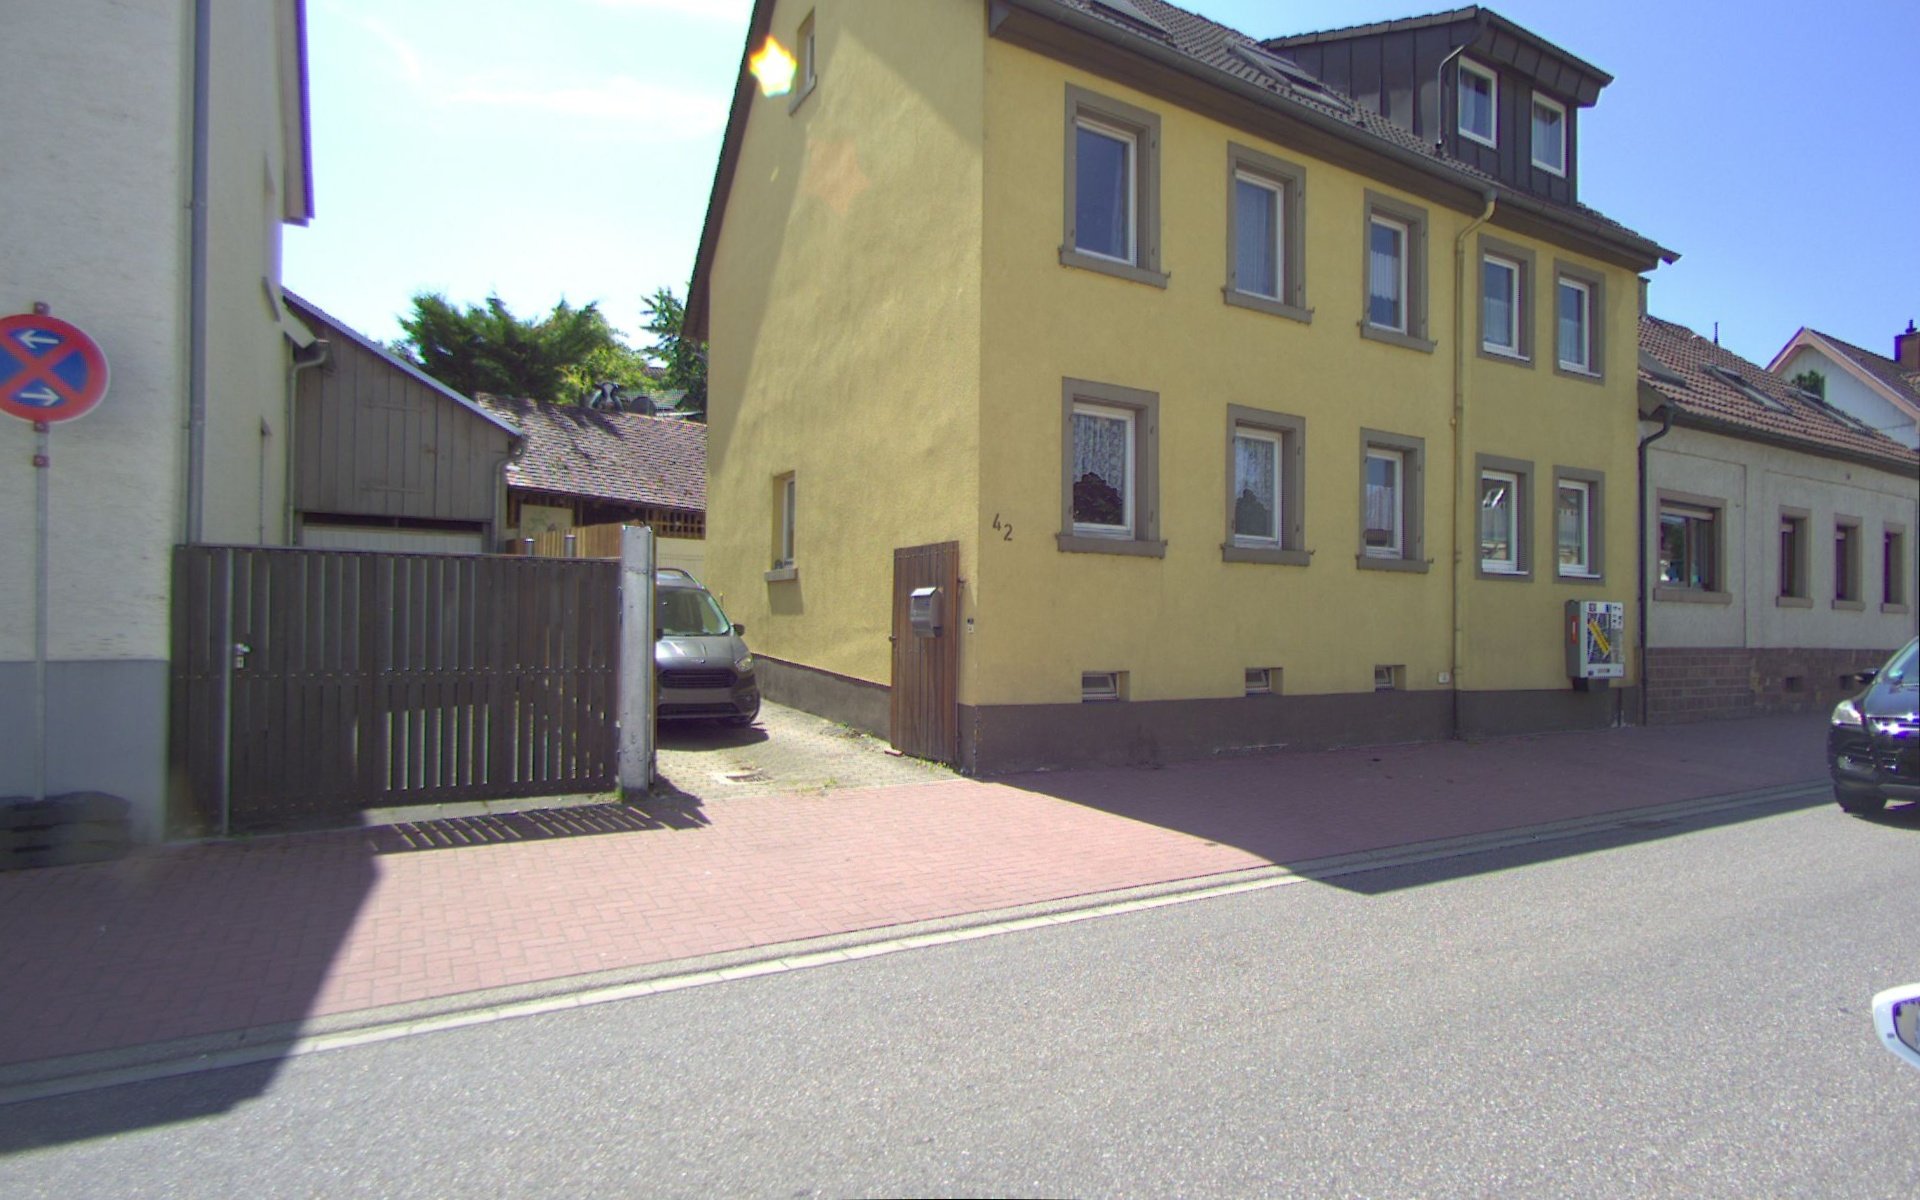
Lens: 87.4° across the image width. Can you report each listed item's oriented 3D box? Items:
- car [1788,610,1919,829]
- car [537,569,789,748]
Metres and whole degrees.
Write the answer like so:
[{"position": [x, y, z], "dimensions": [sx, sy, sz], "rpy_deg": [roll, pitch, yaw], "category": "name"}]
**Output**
[{"position": [9.315, 0.969, 8.812], "dimensions": [4.273, 1.691, 1.830], "rpy_deg": [1, -3, -31], "category": "car"}, {"position": [-3.683, 0.540, 11.964], "dimensions": [1.799, 1.698, 3.963], "rpy_deg": [1, 1, -33], "category": "car"}]
